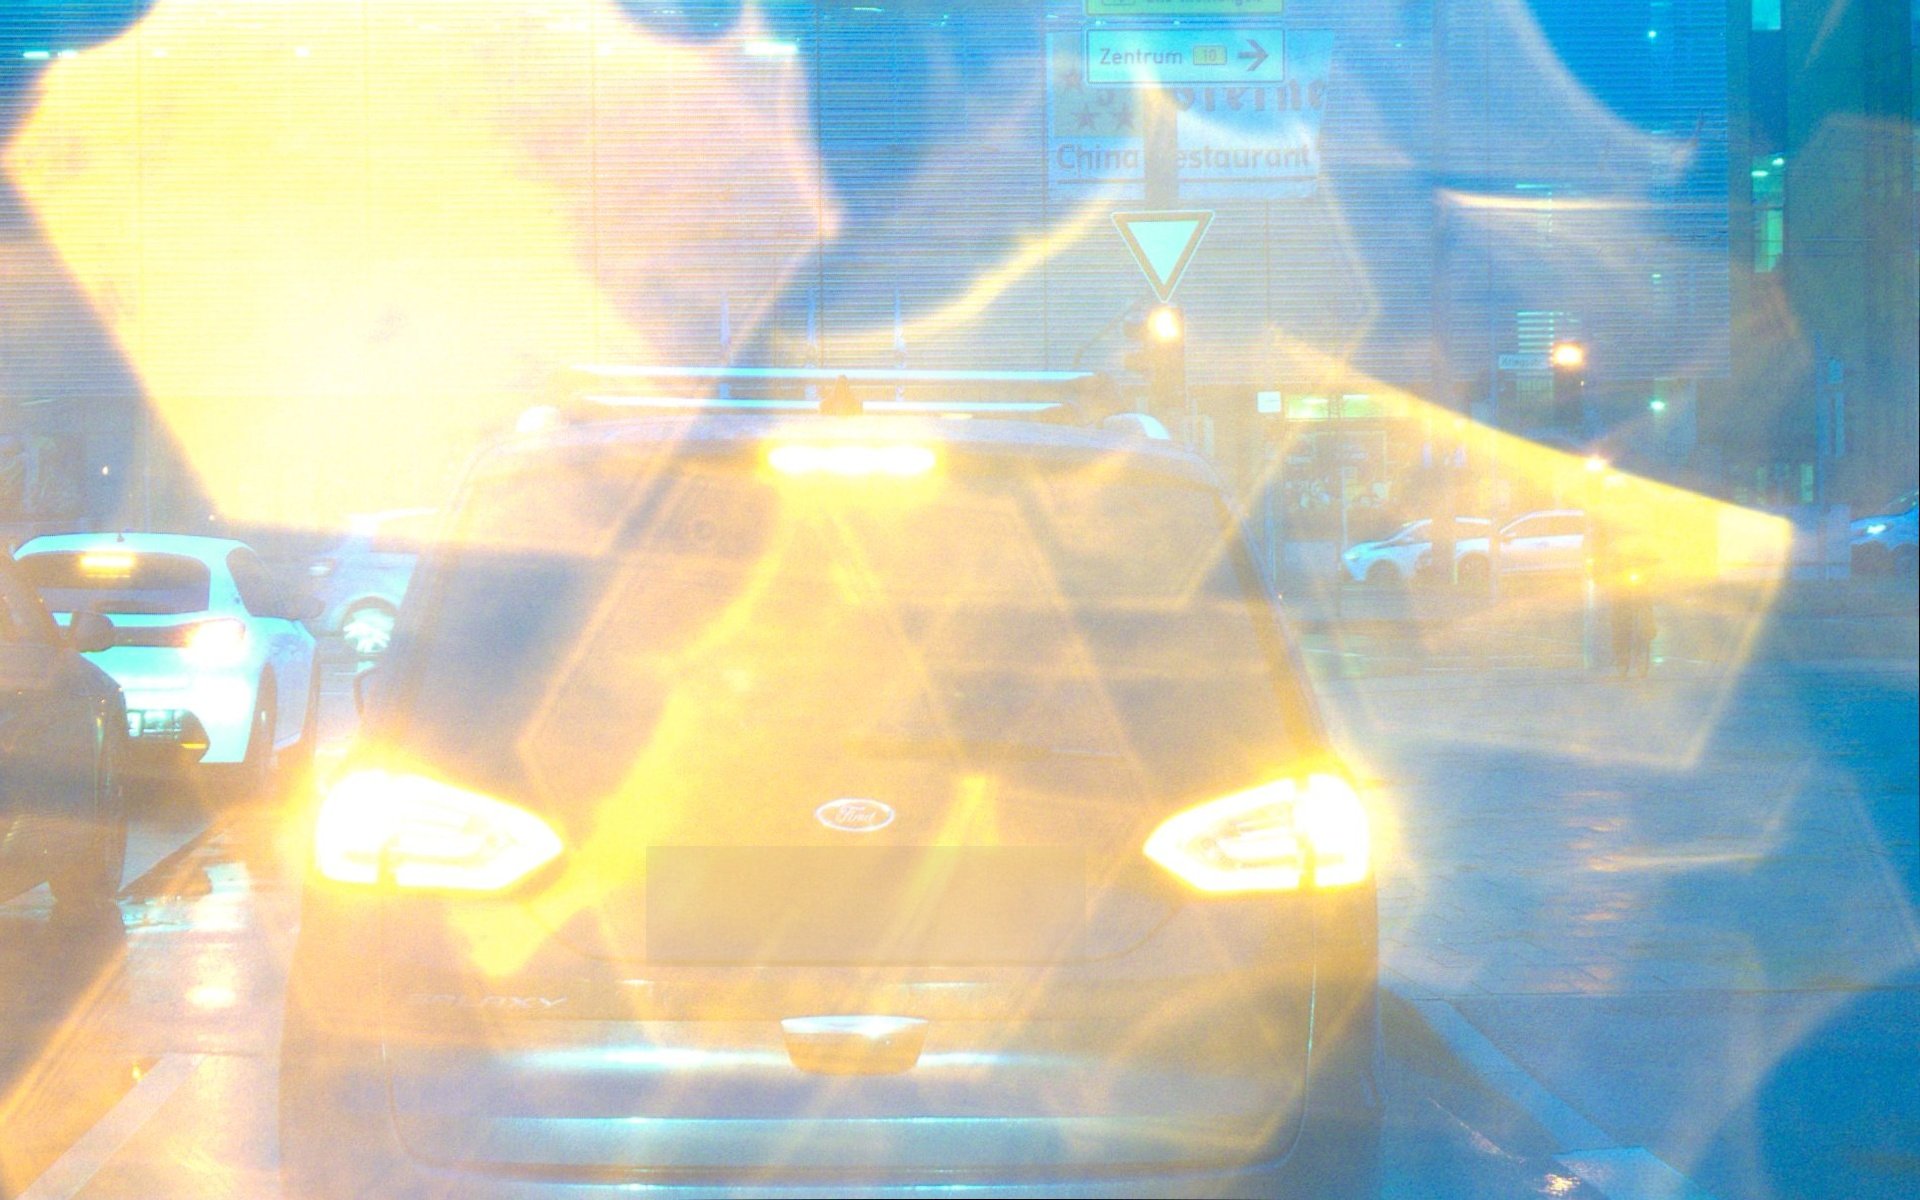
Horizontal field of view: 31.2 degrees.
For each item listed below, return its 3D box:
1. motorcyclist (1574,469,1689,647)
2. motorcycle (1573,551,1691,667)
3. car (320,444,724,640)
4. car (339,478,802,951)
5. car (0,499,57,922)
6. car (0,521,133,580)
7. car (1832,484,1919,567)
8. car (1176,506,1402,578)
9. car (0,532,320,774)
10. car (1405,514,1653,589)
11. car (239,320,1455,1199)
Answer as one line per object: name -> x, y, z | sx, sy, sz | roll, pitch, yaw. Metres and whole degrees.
motorcyclist -> 5.881, -0.376, 30.159 | 0.868, 1.529, 1.108 | 0, 1, 5
motorcycle -> 5.887, 0.068, 30.198 | 0.853, 0.968, 1.581 | 0, 1, 5
car -> -4.600, -0.633, 35.874 | 3.986, 1.868, 2.001 | -2, 2, -12
car -> -1.556, 0.385, 14.169 | 1.636, 1.691, 3.671 | 0, 1, -5
car -> -4.369, 0.433, 11.830 | 1.752, 1.568, 4.001 | -1, 1, -5
car -> -18.980, -1.018, 70.433 | 3.758, 1.161, 1.681 | -1, 1, -6
car -> 19.572, -1.475, 67.463 | 4.418, 1.589, 1.800 | -1, 1, -7
car -> 6.612, -1.183, 69.277 | 4.214, 1.385, 1.800 | -1, 1, -7
car -> -4.576, 0.235, 19.905 | 1.540, 1.247, 4.069 | 0, 1, -8
car -> 11.038, -0.953, 66.850 | 4.418, 1.385, 1.800 | -1, 1, -7
car -> -0.276, 0.436, 7.138 | 1.735, 1.732, 4.248 | 2, 1, -3
